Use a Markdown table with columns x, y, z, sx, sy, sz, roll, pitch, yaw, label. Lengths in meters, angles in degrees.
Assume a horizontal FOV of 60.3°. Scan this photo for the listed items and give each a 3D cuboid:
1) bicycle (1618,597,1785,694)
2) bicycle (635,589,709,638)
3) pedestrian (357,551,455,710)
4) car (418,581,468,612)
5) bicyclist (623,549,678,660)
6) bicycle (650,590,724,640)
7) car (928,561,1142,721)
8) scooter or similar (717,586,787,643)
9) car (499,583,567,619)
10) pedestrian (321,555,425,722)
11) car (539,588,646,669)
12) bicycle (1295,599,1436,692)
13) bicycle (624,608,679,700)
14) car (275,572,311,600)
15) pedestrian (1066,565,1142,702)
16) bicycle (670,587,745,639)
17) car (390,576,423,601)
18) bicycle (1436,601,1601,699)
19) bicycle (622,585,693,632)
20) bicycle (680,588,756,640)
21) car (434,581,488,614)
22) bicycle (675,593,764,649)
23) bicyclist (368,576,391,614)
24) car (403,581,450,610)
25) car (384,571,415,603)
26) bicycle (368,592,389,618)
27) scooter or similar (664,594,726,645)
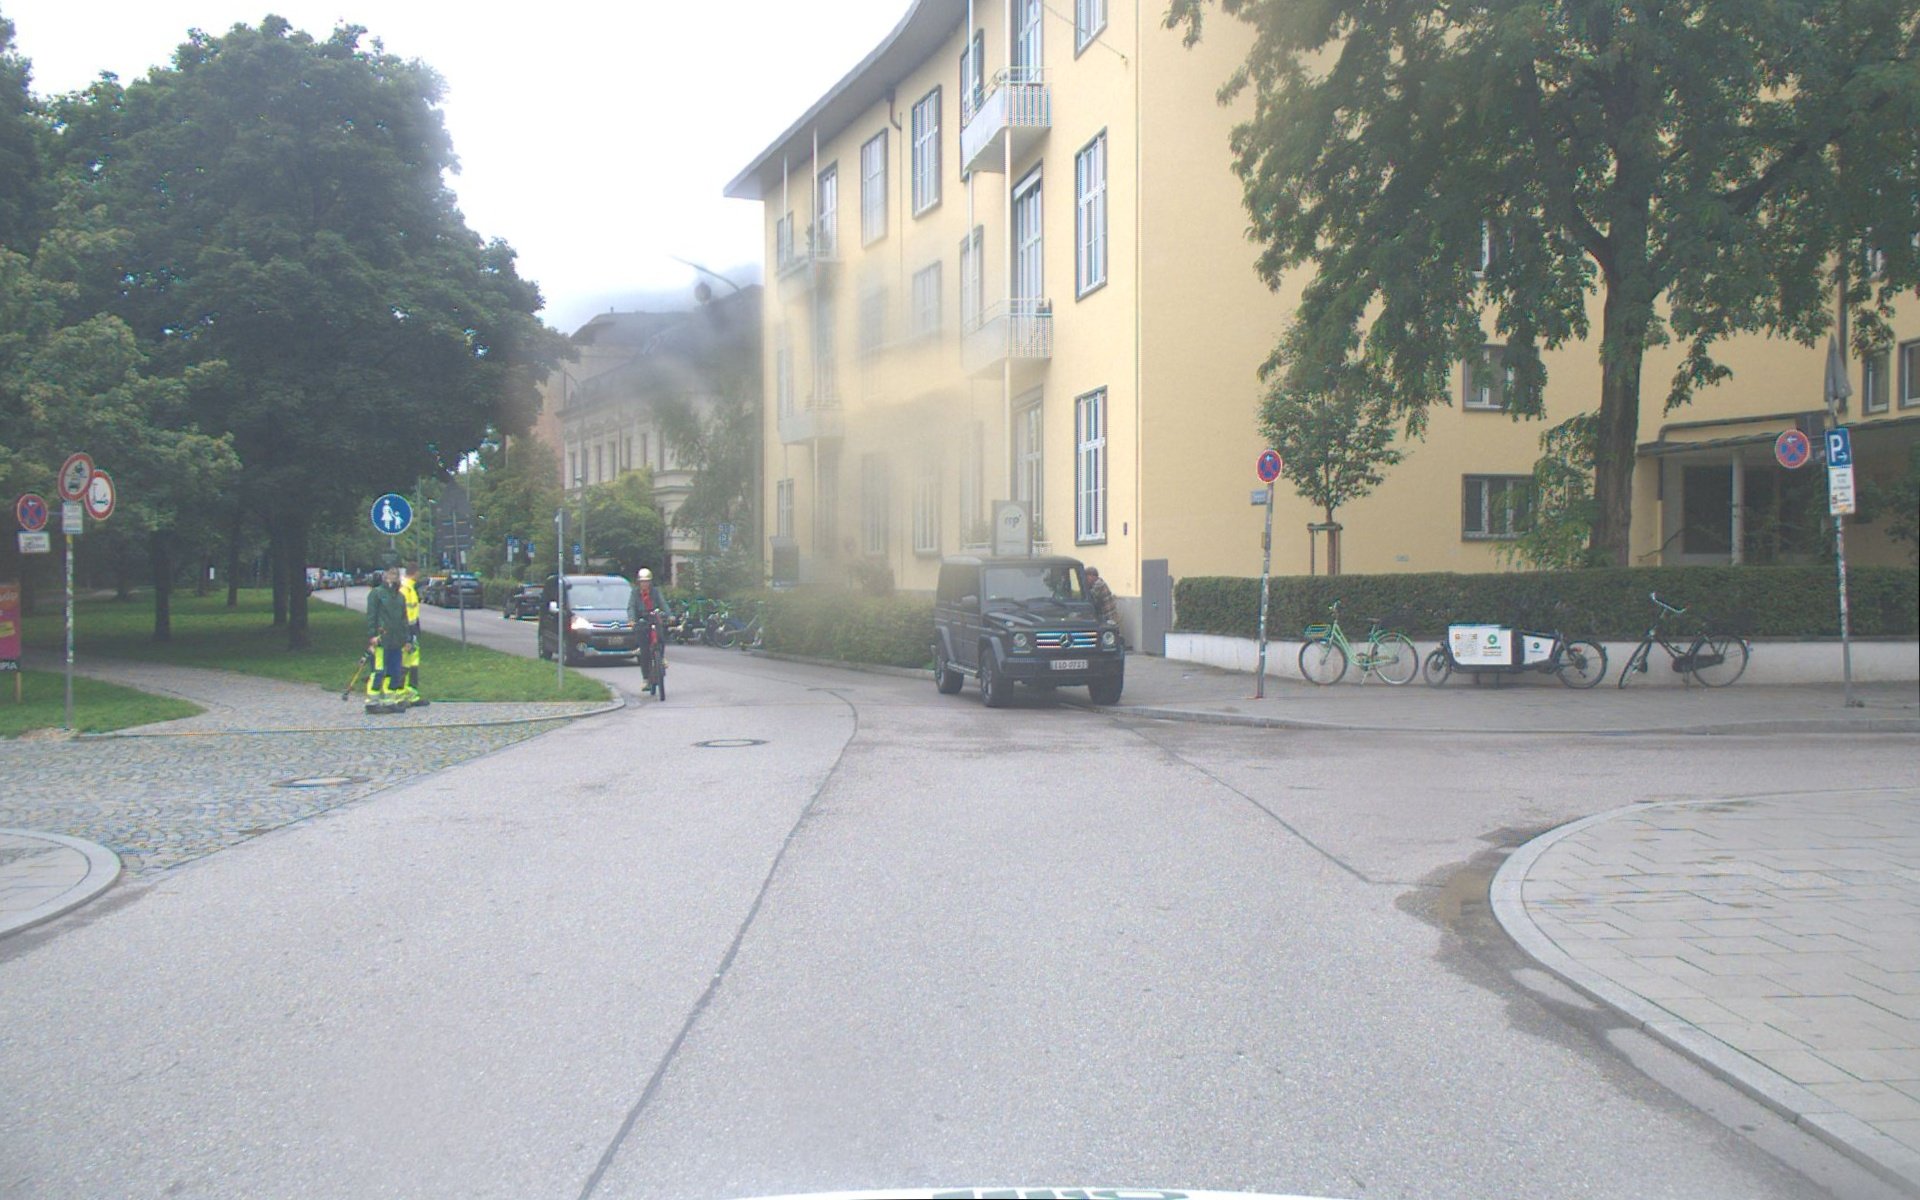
| x | y | z | sx | sy | sz | roll | pitch | yaw | label |
| --- | --- | --- | --- | --- | --- | --- | --- | --- | --- |
| 9.535 | 0.581 | 21.306 | 1.881 | 1.222 | 0.595 | 0 | 1 | 3 | bicycle |
| -7.991 | 0.356 | 45.955 | 0.719 | 1.328 | 2.149 | 0 | 1 | 34 | bicycle |
| -7.286 | 0.386 | 21.806 | 0.912 | 2.049 | 0.957 | 0 | 0 | 4 | pedestrian |
| -28.033 | -0.196 | 89.651 | 1.970 | 1.634 | 3.965 | -1 | 0 | -27 | car |
| -4.471 | 0.058 | 23.897 | 0.730 | 1.547 | 0.943 | -1 | 0 | -11 | bicyclist |
| -7.454 | 0.390 | 45.266 | 0.719 | 1.328 | 2.149 | 0 | 1 | 34 | bicycle |
| 0.915 | 0.478 | 22.816 | 1.732 | 1.907 | 4.364 | 3 | 0 | -13 | car |
| -5.064 | 0.333 | 40.461 | 0.717 | 1.328 | 2.155 | 0 | 1 | 23 | scooter or similar |
| -17.305 | 0.026 | 66.882 | 1.968 | 1.396 | 3.968 | -1 | 0 | -25 | car |
| -7.366 | 0.466 | 20.802 | 0.912 | 2.049 | 0.957 | 0 | 0 | 4 | pedestrian |
| -7.492 | 0.531 | 33.487 | 1.884 | 1.496 | 3.982 | 0 | 1 | -16 | car |
| 5.639 | 0.612 | 23.096 | 0.591 | 1.222 | 1.896 | -1 | 1 | -45 | bicycle |
| -4.453 | 0.749 | 23.894 | 0.730 | 1.236 | 2.139 | -1 | 1 | -11 | bicycle |
| -42.712 | -0.870 | 105.865 | 1.968 | 1.720 | 3.968 | -1 | 1 | -25 | car |
| 1.982 | 0.446 | 22.872 | 0.859 | 1.855 | 0.796 | 0 | 1 | -12 | pedestrian |
| -6.746 | 0.334 | 44.320 | 0.719 | 1.328 | 2.149 | 0 | 1 | 34 | bicycle |
| -36.351 | -0.754 | 108.693 | 1.962 | 1.634 | 3.980 | -1 | 0 | -17 | car |
| 7.307 | 0.635 | 21.655 | 2.025 | 1.222 | 0.595 | 0 | 1 | 22 | bicycle |
| -8.698 | 0.225 | 47.693 | 0.719 | 1.328 | 2.149 | 0 | 1 | 34 | bicycle |
| -6.339 | 0.353 | 43.469 | 0.719 | 1.328 | 2.149 | 0 | 1 | 34 | bicycle |
| -25.546 | -0.121 | 84.640 | 1.970 | 1.634 | 3.965 | -1 | 0 | -27 | car |
| -6.007 | 0.513 | 41.364 | 2.134 | 1.328 | 0.724 | -1 | 1 | -38 | bicycle |
| -23.312 | -0.195 | 66.420 | 0.785 | 1.496 | 0.886 | 0 | 1 | -25 | bicyclist |
| -30.538 | -0.271 | 94.659 | 1.970 | 1.634 | 3.965 | -1 | 0 | -27 | car |
| -39.686 | -0.891 | 117.214 | 1.962 | 2.197 | 3.980 | -1 | 0 | -17 | car |
| -23.376 | 0.200 | 66.488 | 0.631 | 0.984 | 1.980 | 0 | 1 | -25 | bicycle |
| -7.157 | 0.516 | 44.699 | 0.719 | 1.328 | 1.726 | 0 | 1 | 31 | scooter or similar |
